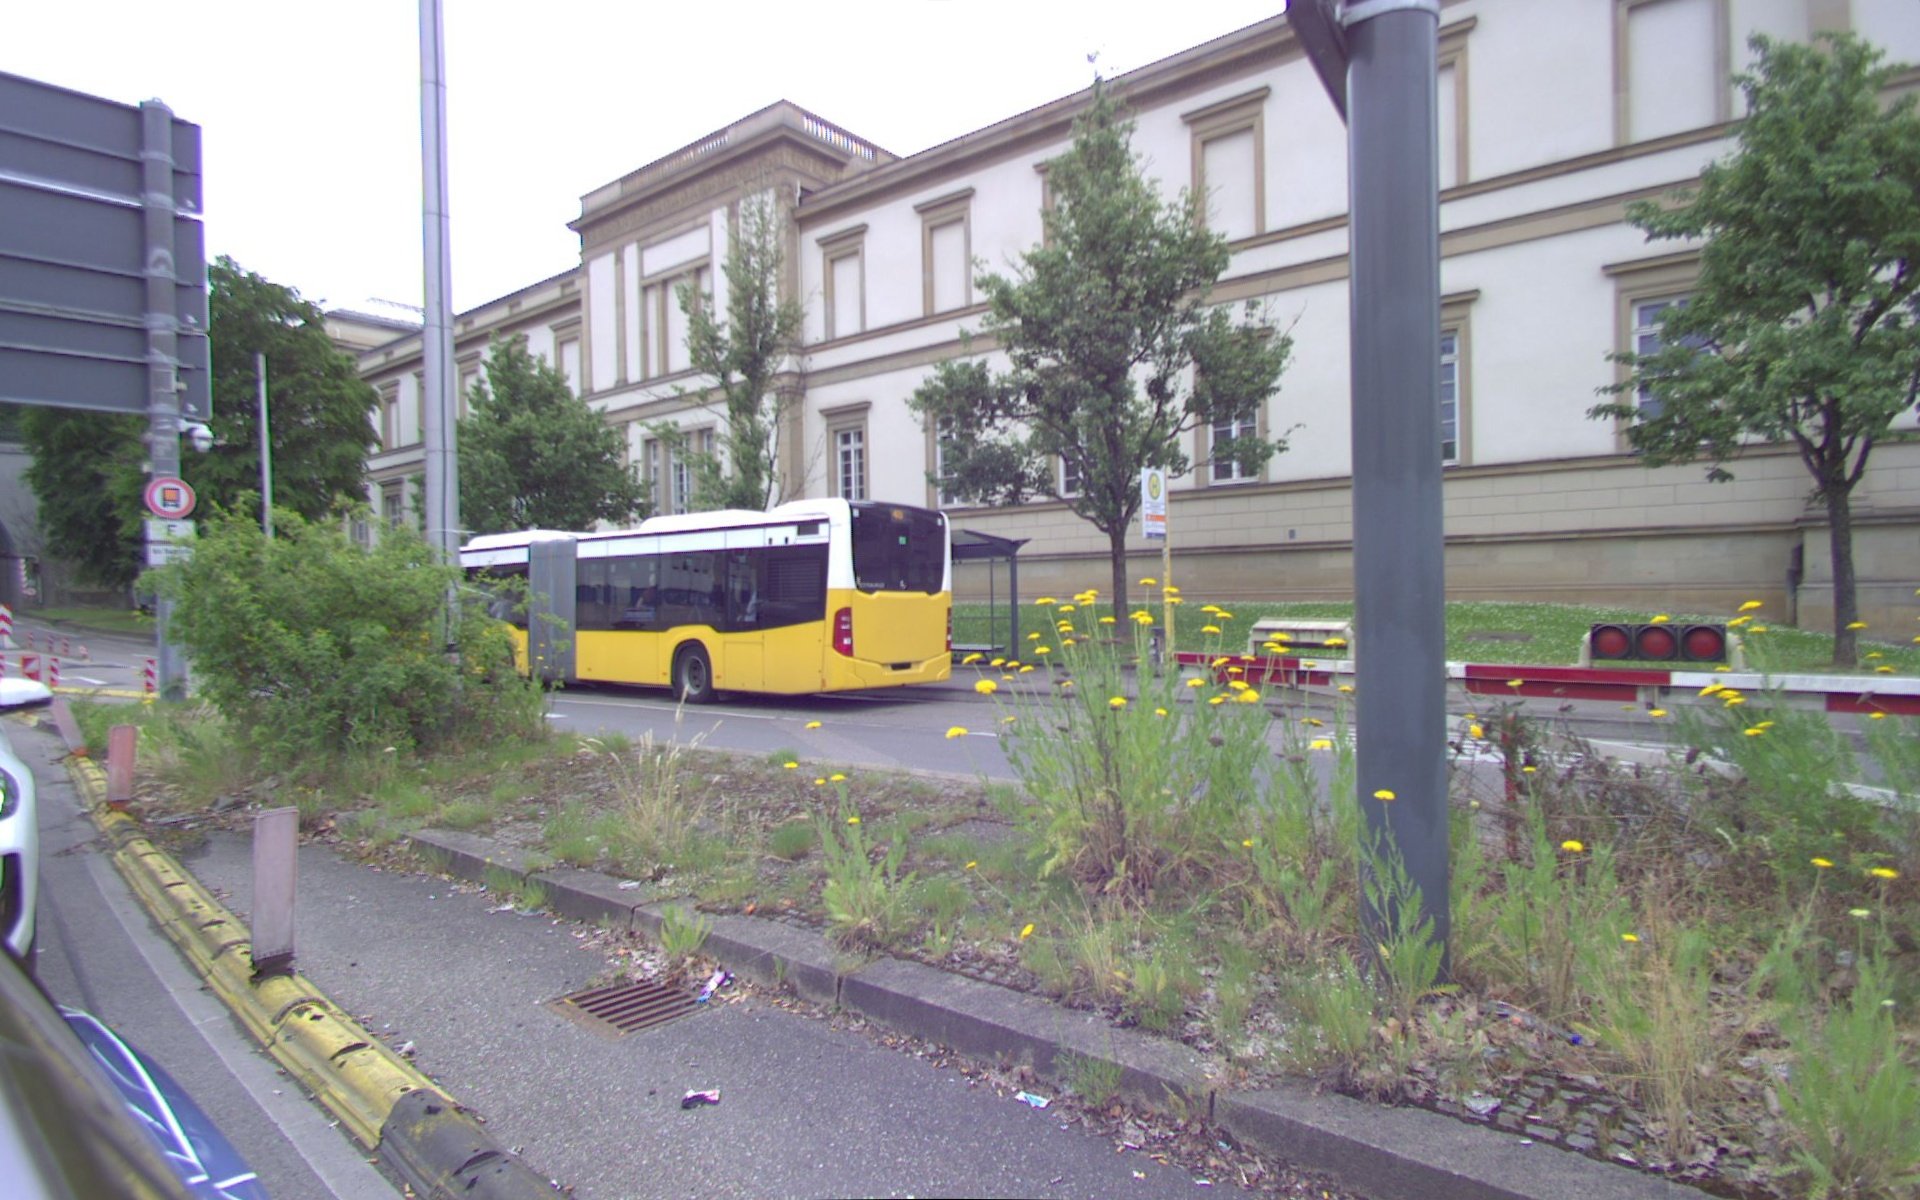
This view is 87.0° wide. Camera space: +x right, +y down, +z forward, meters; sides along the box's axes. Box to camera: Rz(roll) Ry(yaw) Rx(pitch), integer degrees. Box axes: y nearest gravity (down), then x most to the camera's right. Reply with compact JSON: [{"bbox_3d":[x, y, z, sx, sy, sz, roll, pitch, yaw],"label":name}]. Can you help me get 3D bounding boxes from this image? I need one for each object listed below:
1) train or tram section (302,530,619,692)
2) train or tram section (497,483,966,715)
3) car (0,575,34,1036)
[{"bbox_3d":[-11.738,0.314,23.226,9.362,3.094,2.668,-1,-2,38],"label":"train or tram section"},{"bbox_3d":[-4.373,0.096,17.472,9.324,3.094,2.668,-1,-2,38],"label":"train or tram section"},{"bbox_3d":[-5.226,0.723,4.204,3.911,1.568,1.733,-1,0,43],"label":"car"}]
